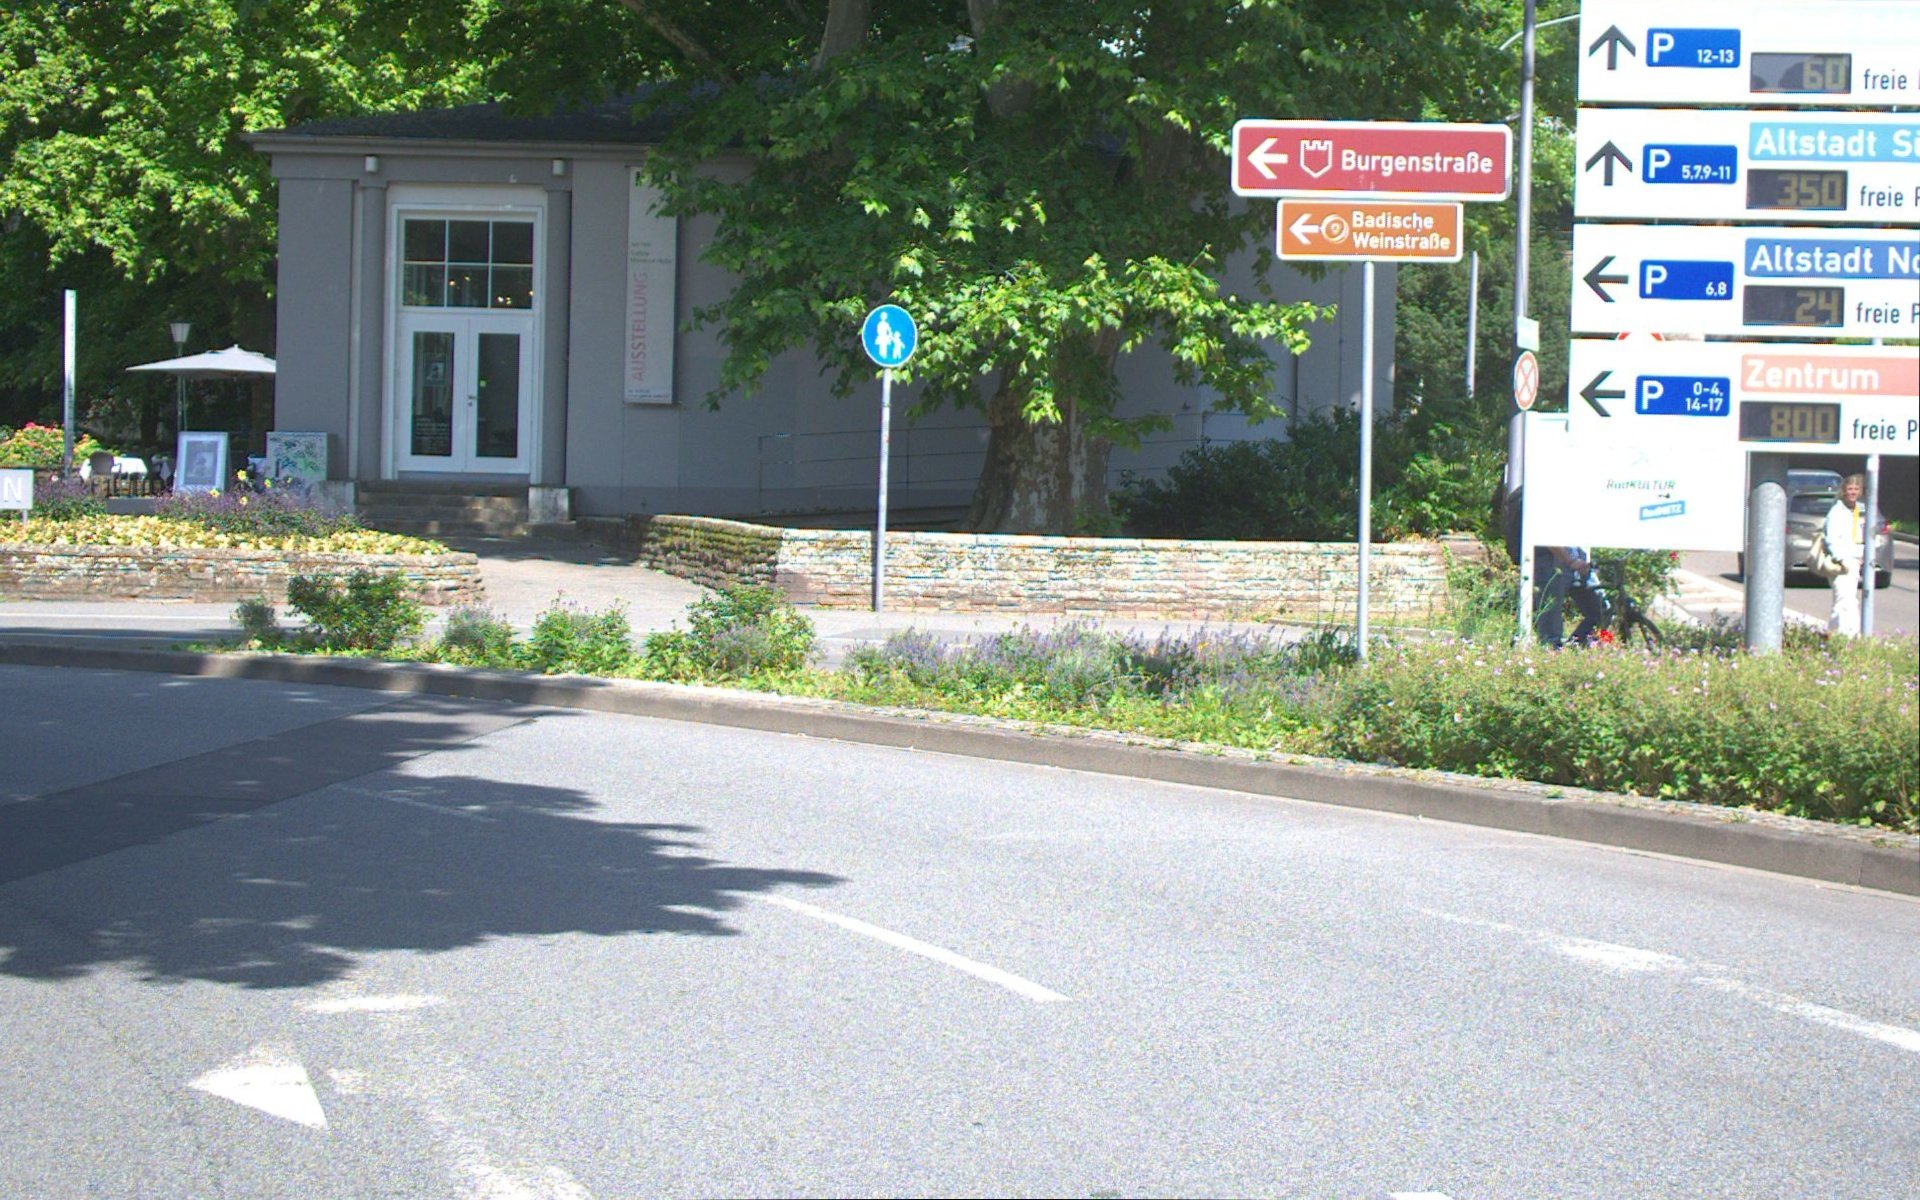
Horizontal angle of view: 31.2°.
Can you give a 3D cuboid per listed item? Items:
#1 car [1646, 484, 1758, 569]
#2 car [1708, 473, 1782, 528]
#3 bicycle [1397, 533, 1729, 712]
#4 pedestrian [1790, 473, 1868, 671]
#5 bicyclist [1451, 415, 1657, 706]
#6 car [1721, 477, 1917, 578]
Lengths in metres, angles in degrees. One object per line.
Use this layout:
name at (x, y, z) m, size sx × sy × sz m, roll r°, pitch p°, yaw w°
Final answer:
car at (13.604, -1.373, 63.184) m, size 1.757 × 1.456 × 3.493 m, roll 2°, pitch 2°, yaw 9°
car at (22.164, -2.834, 97.168) m, size 1.757 × 1.456 × 3.645 m, roll 2°, pitch 2°, yaw 9°
bicycle at (4.115, 0.130, 23.546) m, size 2.080 × 1.108 × 0.755 m, roll 3°, pitch 3°, yaw 34°
pedestrian at (7.251, -0.245, 28.666) m, size 0.547 × 1.615 × 0.634 m, roll 2°, pitch 3°, yaw 18°
bicyclist at (4.071, -0.284, 23.571) m, size 1.128 × 1.926 × 0.747 m, roll 3°, pitch 2°, yaw 34°
car at (12.324, -1.071, 49.539) m, size 1.756 × 1.329 × 3.802 m, roll 2°, pitch 2°, yaw -1°
